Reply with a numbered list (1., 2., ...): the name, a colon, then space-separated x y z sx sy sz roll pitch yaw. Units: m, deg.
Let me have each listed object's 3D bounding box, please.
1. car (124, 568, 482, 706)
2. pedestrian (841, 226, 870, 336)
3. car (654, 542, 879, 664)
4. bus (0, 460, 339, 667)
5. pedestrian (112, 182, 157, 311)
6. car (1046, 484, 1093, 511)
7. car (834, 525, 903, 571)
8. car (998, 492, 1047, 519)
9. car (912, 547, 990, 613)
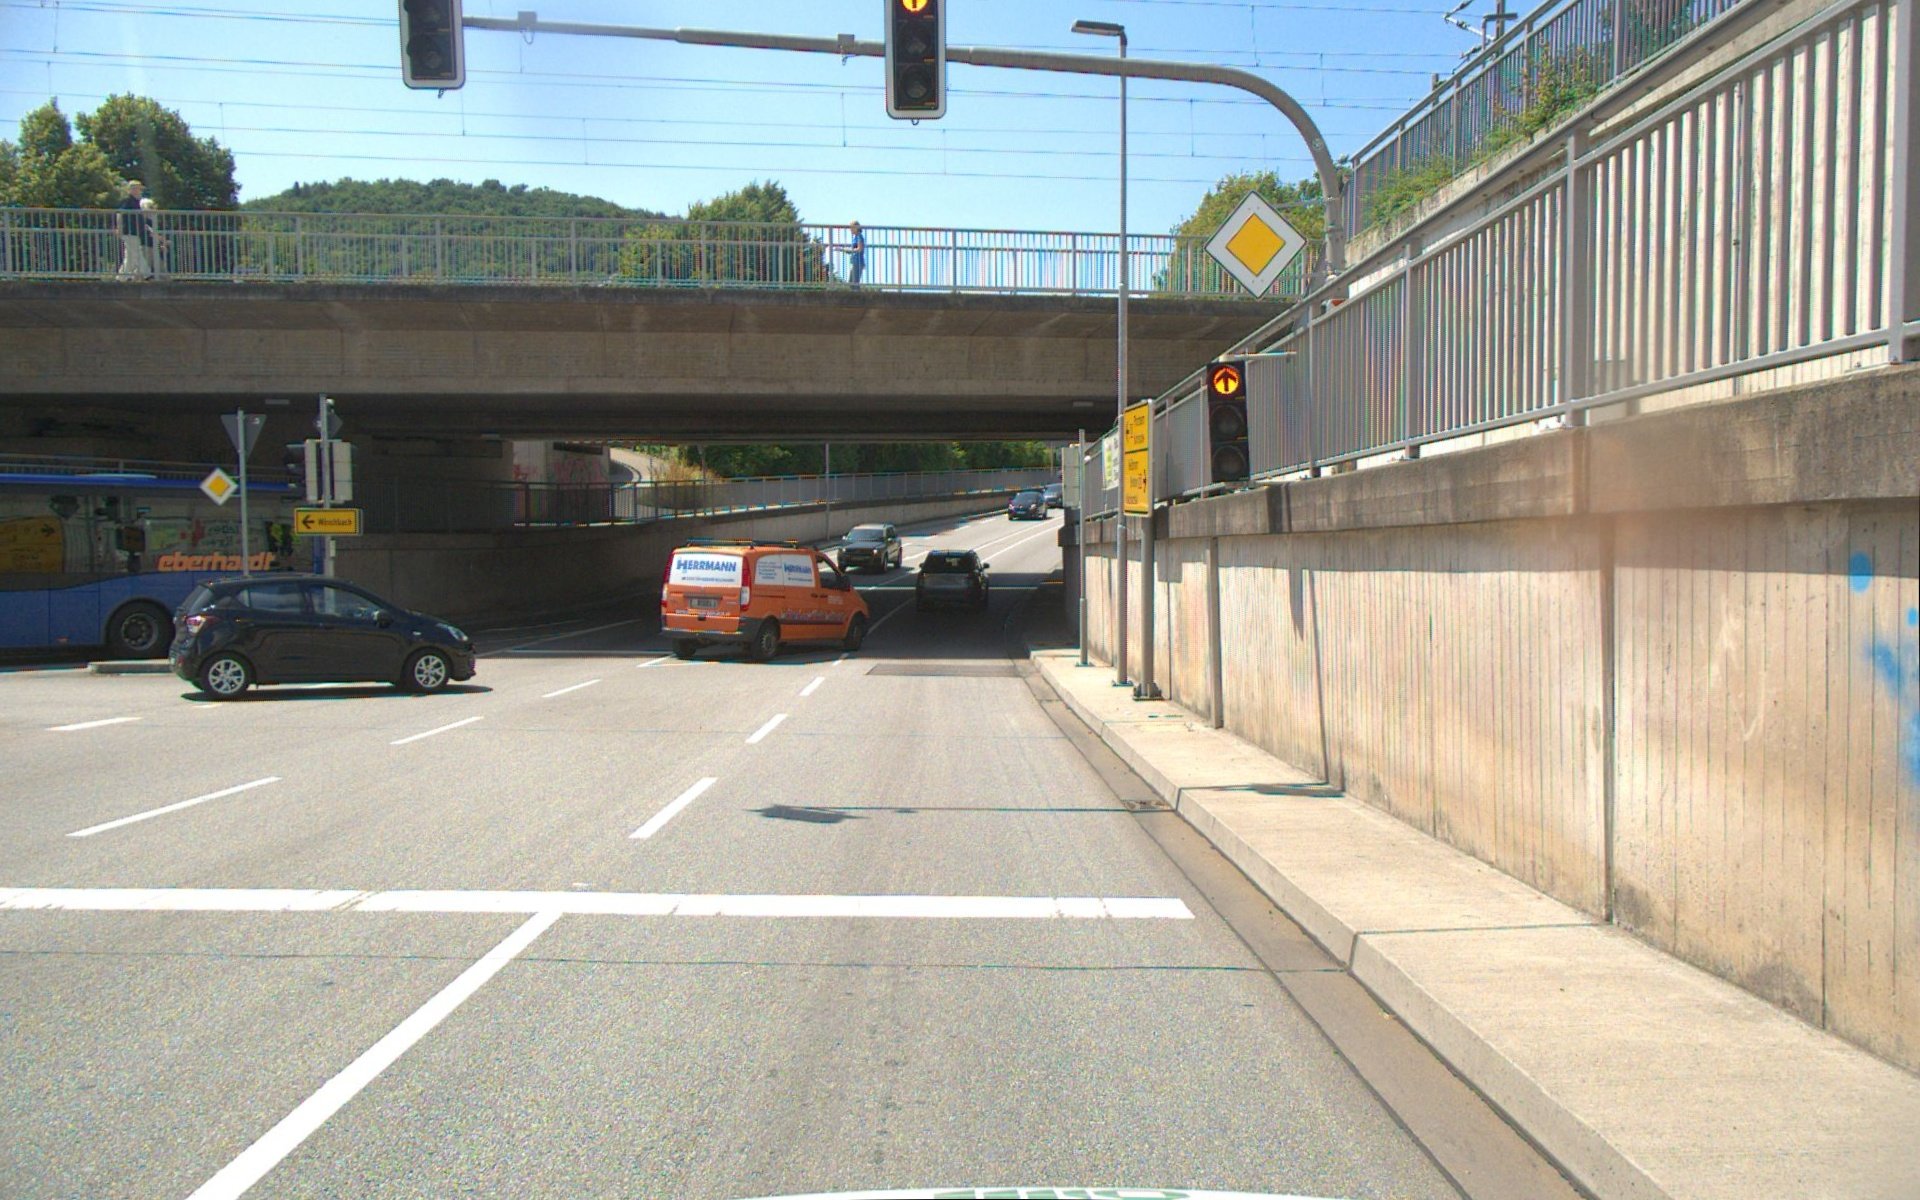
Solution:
1. car: -8.259 0.390 20.842 3.947 1.534 1.979 -1 2 -31
2. pedestrian: -2.104 -6.418 33.313 0.529 2.117 0.534 0 0 -8
3. car: -3.370 -0.031 29.805 1.836 1.965 4.717 2 3 25
4. bus: -16.198 -0.604 26.225 2.541 3.227 12.314 3 3 39
5. pedestrian: -14.422 -6.170 28.909 0.566 2.117 0.534 0 0 -11
6. car: 6.950 -6.447 104.595 1.952 1.616 4.002 1 3 19
7. car: -3.372 -1.968 61.626 1.951 1.655 4.004 1 3 5
8. car: 3.558 -5.357 93.767 1.745 1.461 4.003 1 3 18
9. car: -0.203 -0.587 45.082 1.766 1.646 4.003 1 2 5
